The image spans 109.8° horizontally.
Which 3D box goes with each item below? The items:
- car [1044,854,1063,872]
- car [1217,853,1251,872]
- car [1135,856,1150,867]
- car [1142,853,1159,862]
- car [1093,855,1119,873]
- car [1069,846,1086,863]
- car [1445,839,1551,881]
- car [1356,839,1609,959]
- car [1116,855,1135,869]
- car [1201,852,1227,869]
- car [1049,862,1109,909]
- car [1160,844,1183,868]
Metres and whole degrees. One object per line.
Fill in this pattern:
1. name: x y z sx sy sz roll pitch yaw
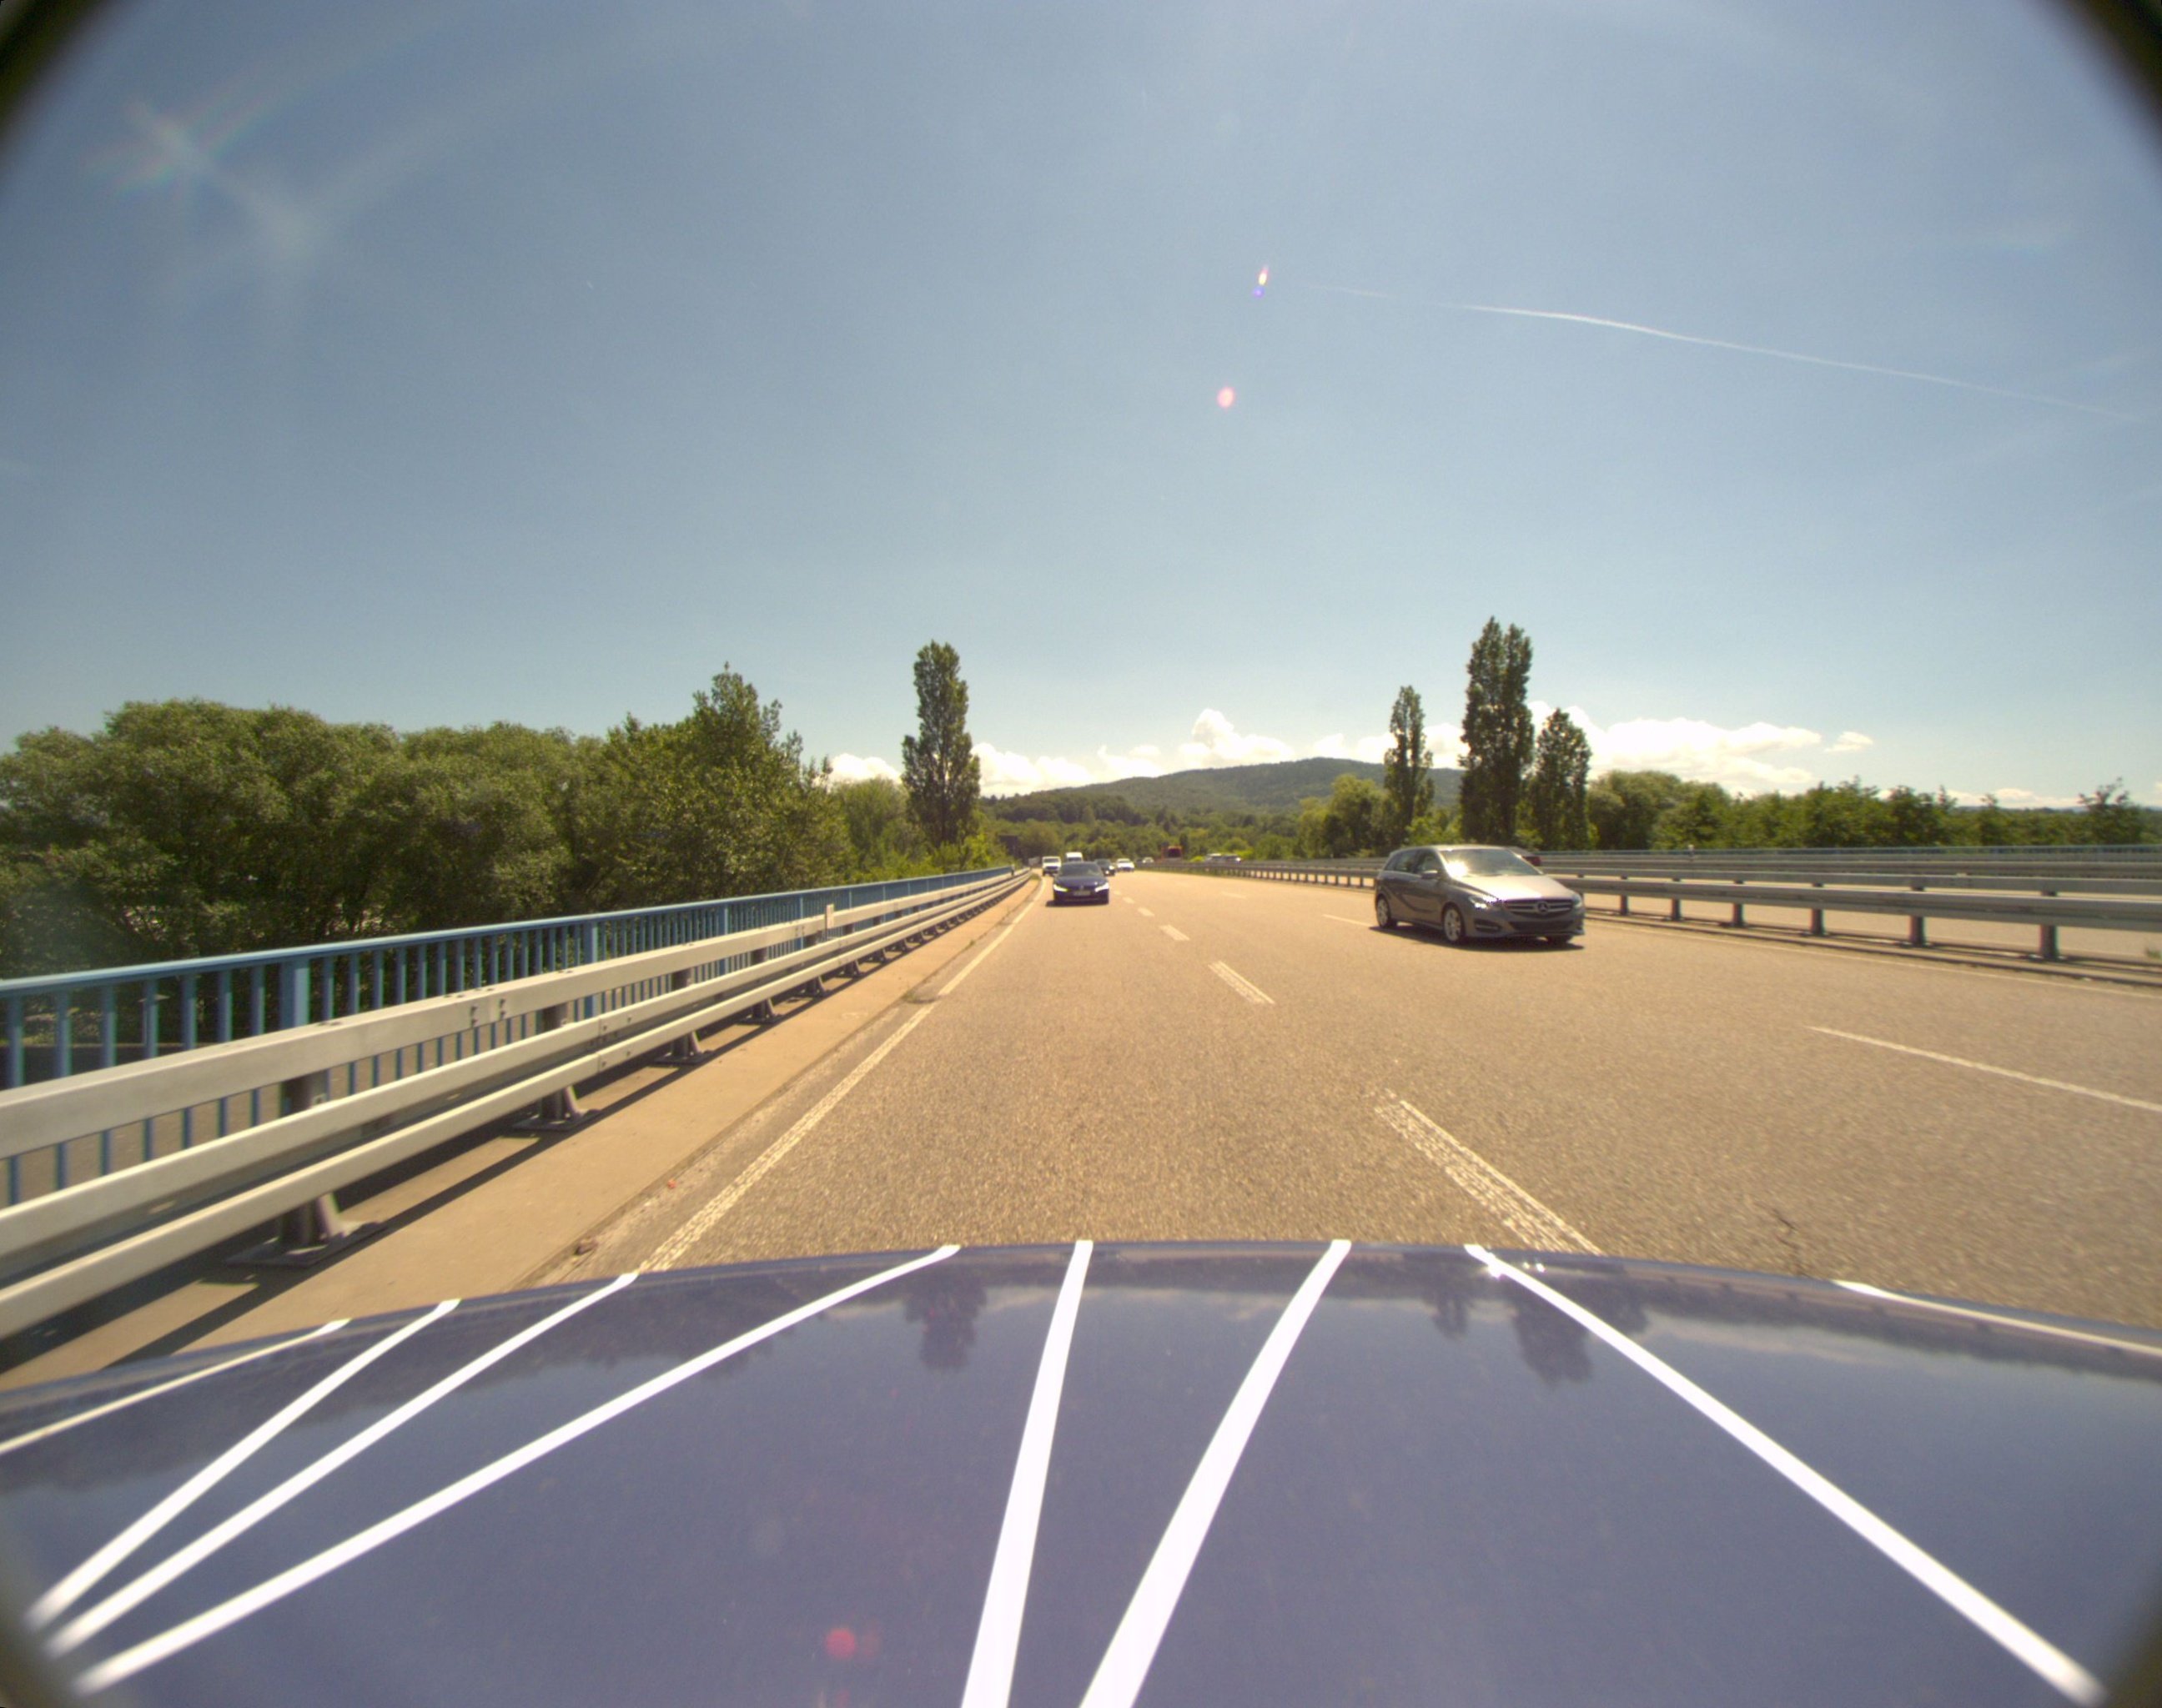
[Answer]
1. car: -2.825 0.898 78.865 1.885 1.724 4.468 -2 1 -1
2. car: 13.103 0.694 65.257 1.909 1.496 4.683 -2 0 -1
3. car: 8.726 1.098 108.515 1.729 1.420 3.947 -1 1 -1
4. car: 11.397 0.513 124.838 1.858 1.424 4.792 -1 0 -5
5. car: 2.140 0.836 66.250 1.846 1.399 4.468 -2 0 -2
6. car: -0.436 0.069 95.487 2.008 1.988 4.578 -2 1 -1
7. car: 18.031 0.202 33.165 1.848 1.658 5.049 -1 1 0
8. car: 6.448 0.653 12.912 1.798 1.658 4.554 -1 0 -1
9. car: 4.958 0.825 84.816 1.846 1.400 4.469 -2 1 -1
10. car: 15.397 0.768 88.097 1.858 1.808 4.793 -1 1 -3
11. car: -0.073 1.024 26.522 1.846 1.399 4.470 -2 0 -1
12. car: 12.925 0.276 109.141 2.311 3.272 7.027 -1 0 -2
